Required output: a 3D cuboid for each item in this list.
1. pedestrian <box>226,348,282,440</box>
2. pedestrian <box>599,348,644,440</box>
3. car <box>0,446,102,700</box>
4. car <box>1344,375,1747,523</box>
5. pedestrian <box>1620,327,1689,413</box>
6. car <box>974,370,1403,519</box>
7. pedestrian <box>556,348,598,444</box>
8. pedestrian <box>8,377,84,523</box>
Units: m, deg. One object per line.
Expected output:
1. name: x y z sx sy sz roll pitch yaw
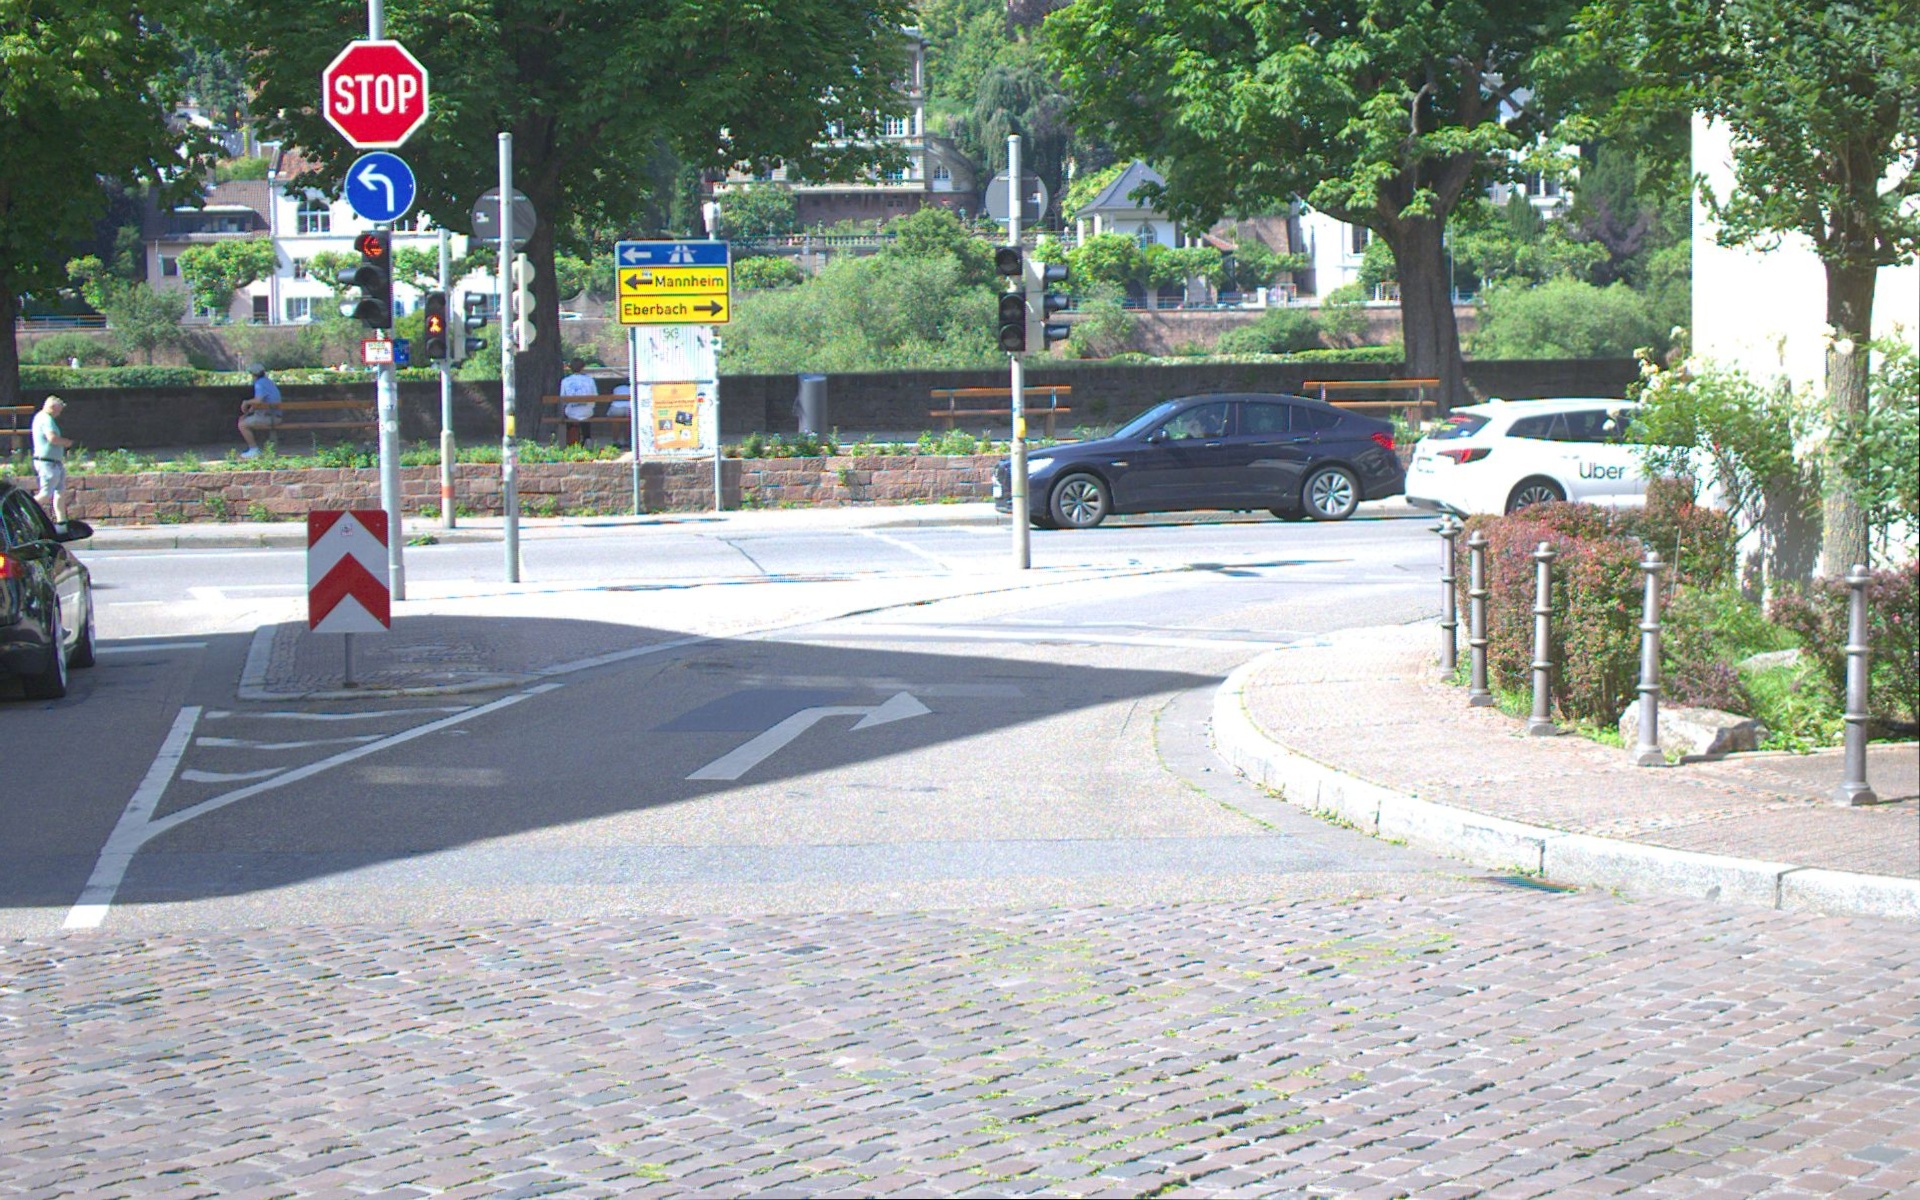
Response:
1. pedestrian: -9.585 -2.798 46.665 0.641 1.224 0.414 -2 2 -22
2. pedestrian: -4.717 -2.868 47.893 0.553 1.224 0.986 1 0 -9
3. car: -6.857 -0.221 23.083 1.714 1.457 4.726 -4 4 -10
4. car: 6.420 -1.671 37.865 3.986 1.437 1.709 -3 3 -10
5. pedestrian: 10.147 -3.355 50.236 0.797 1.206 0.715 1 0 -6
6. car: 2.718 -1.875 41.348 4.762 1.512 1.907 -3 3 -10
7. pedestrian: -5.285 -2.810 47.450 0.553 1.275 0.704 1 0 -7
8. pedestrian: -11.353 -1.865 42.721 0.688 1.763 0.717 -2 3 -3
